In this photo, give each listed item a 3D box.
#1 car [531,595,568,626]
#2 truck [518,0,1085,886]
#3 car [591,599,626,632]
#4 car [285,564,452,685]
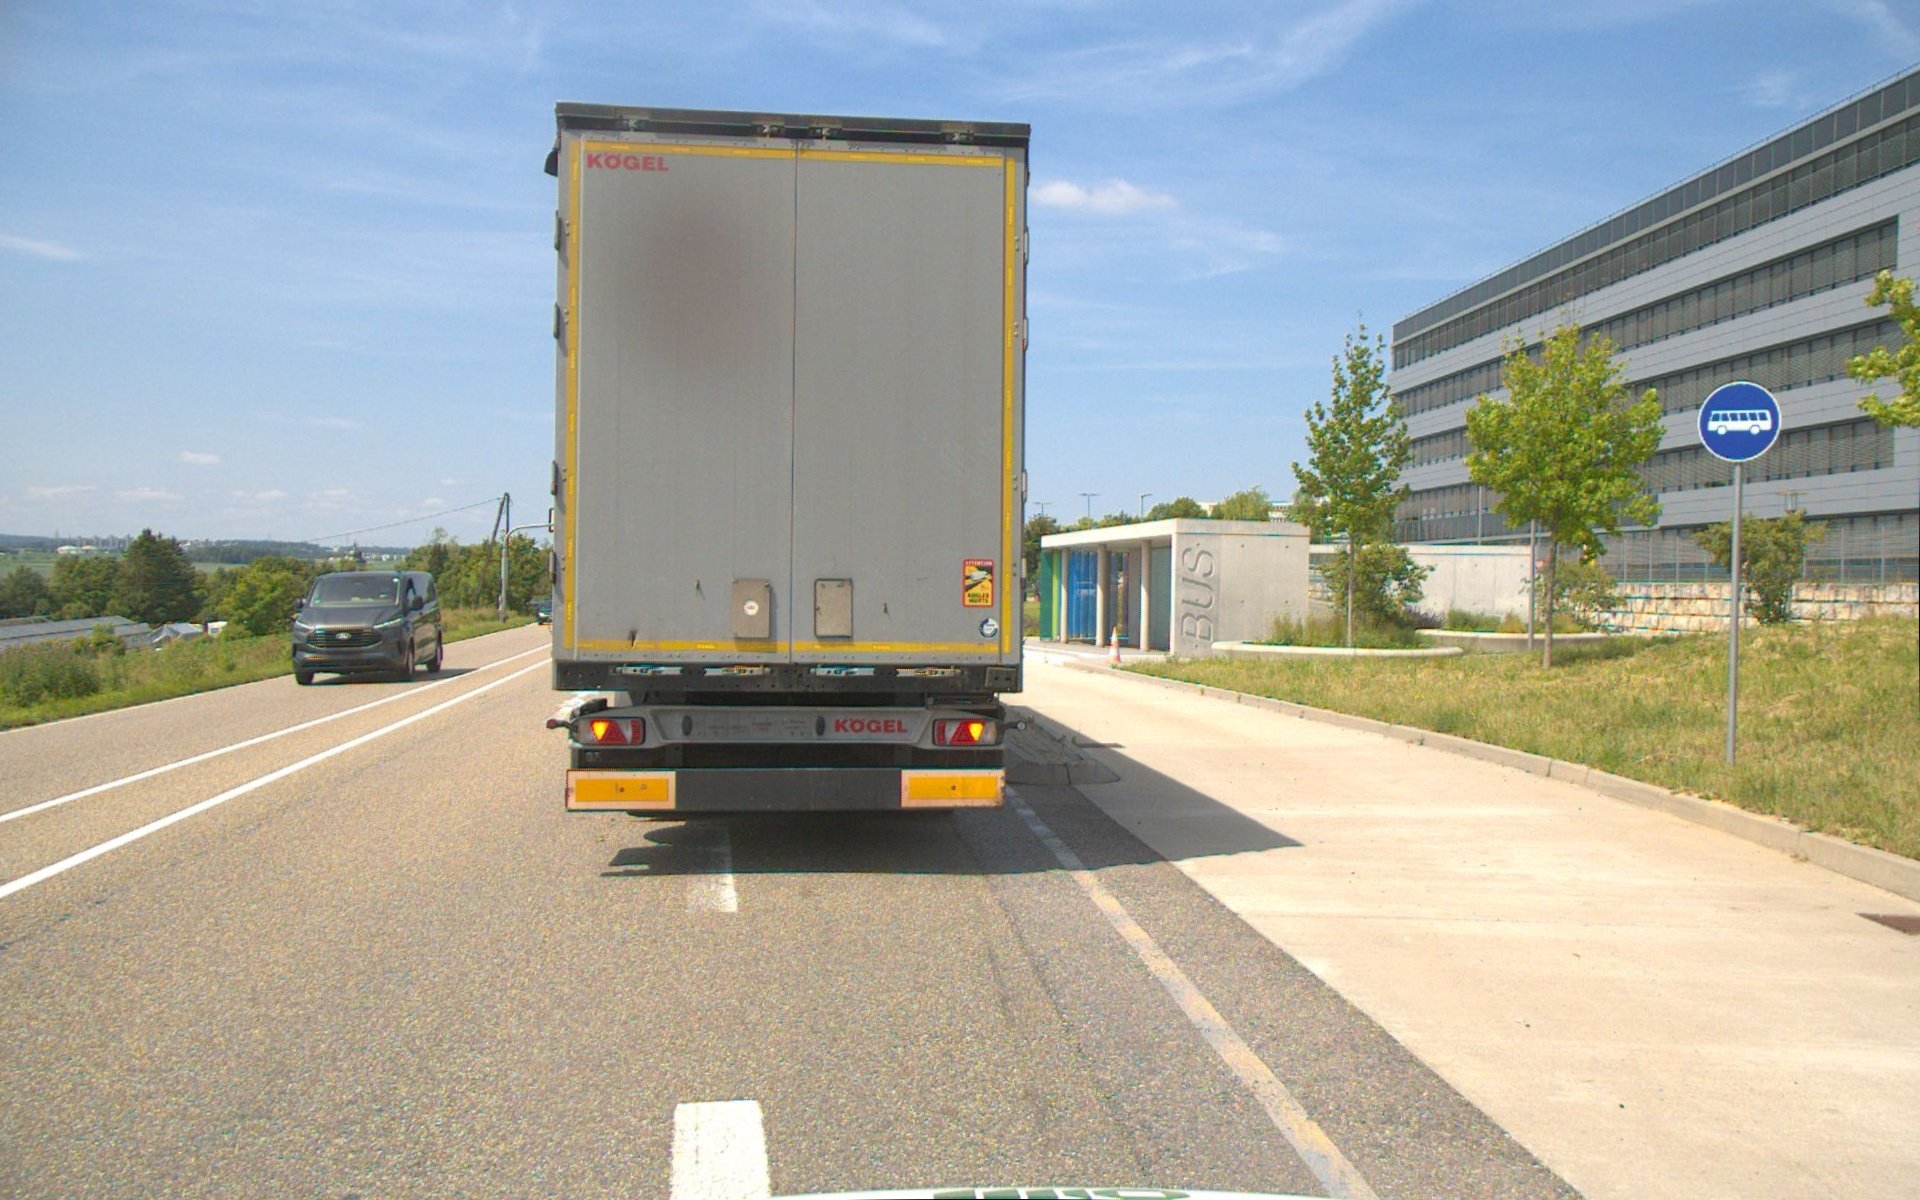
[{"bbox_3d":[-25.153,0.616,101.398,1.958,1.819,3.989,-2,0,-11],"label":"car"},{"bbox_3d":[-1.221,-0.848,12.755,2.851,4.487,8.848,0,0,-6],"label":"truck"},{"bbox_3d":[-21.550,0.932,101.575,1.958,1.847,4.285,-2,1,-11],"label":"car"},{"bbox_3d":[-10.979,0.410,31.073,1.957,2.013,5.268,-2,0,-9],"label":"car"}]
